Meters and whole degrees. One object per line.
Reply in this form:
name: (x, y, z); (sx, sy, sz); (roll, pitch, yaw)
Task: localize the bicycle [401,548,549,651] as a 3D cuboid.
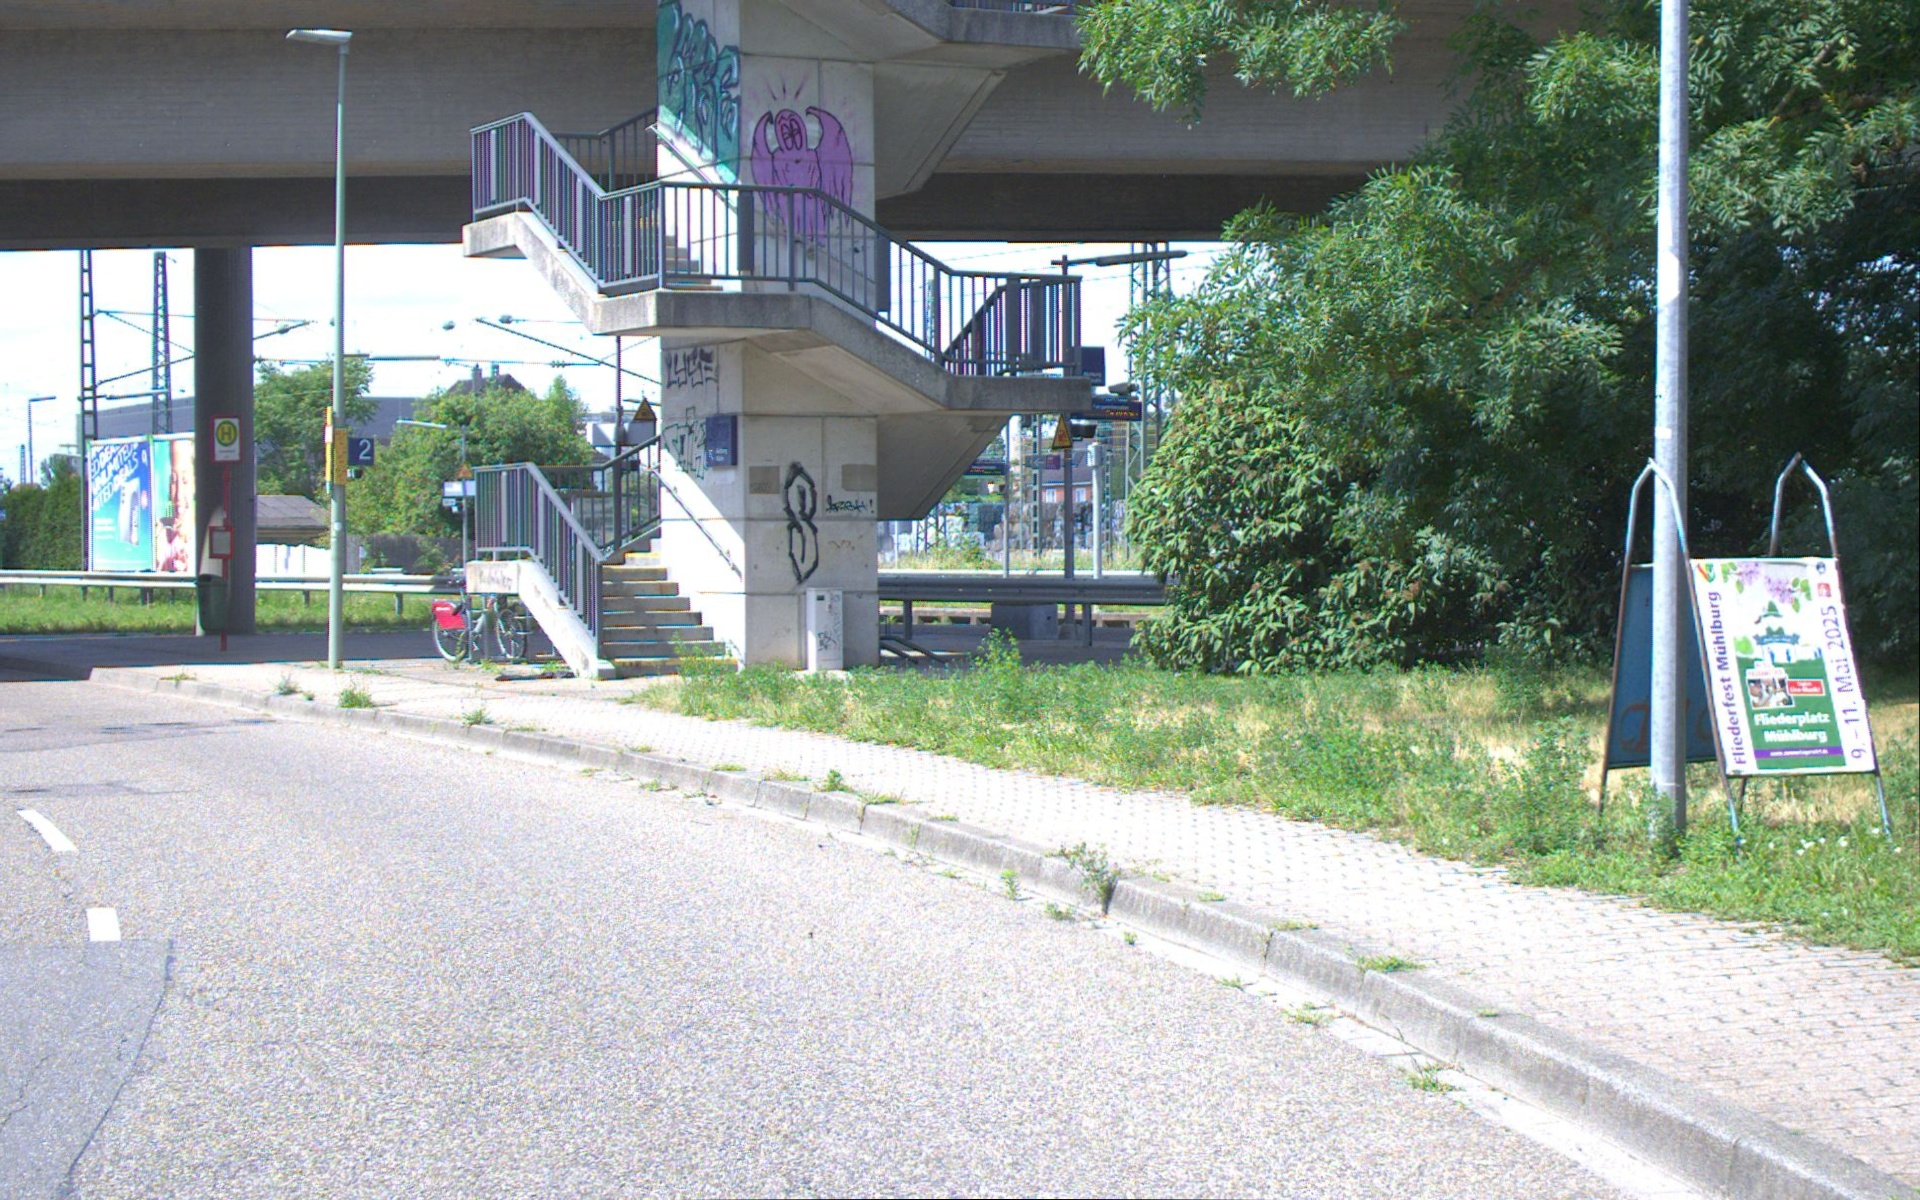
bicycle: (-5.490, -0.022, 38.819); (0.643, 1.104, 2.191); (-3, 3, -37)
